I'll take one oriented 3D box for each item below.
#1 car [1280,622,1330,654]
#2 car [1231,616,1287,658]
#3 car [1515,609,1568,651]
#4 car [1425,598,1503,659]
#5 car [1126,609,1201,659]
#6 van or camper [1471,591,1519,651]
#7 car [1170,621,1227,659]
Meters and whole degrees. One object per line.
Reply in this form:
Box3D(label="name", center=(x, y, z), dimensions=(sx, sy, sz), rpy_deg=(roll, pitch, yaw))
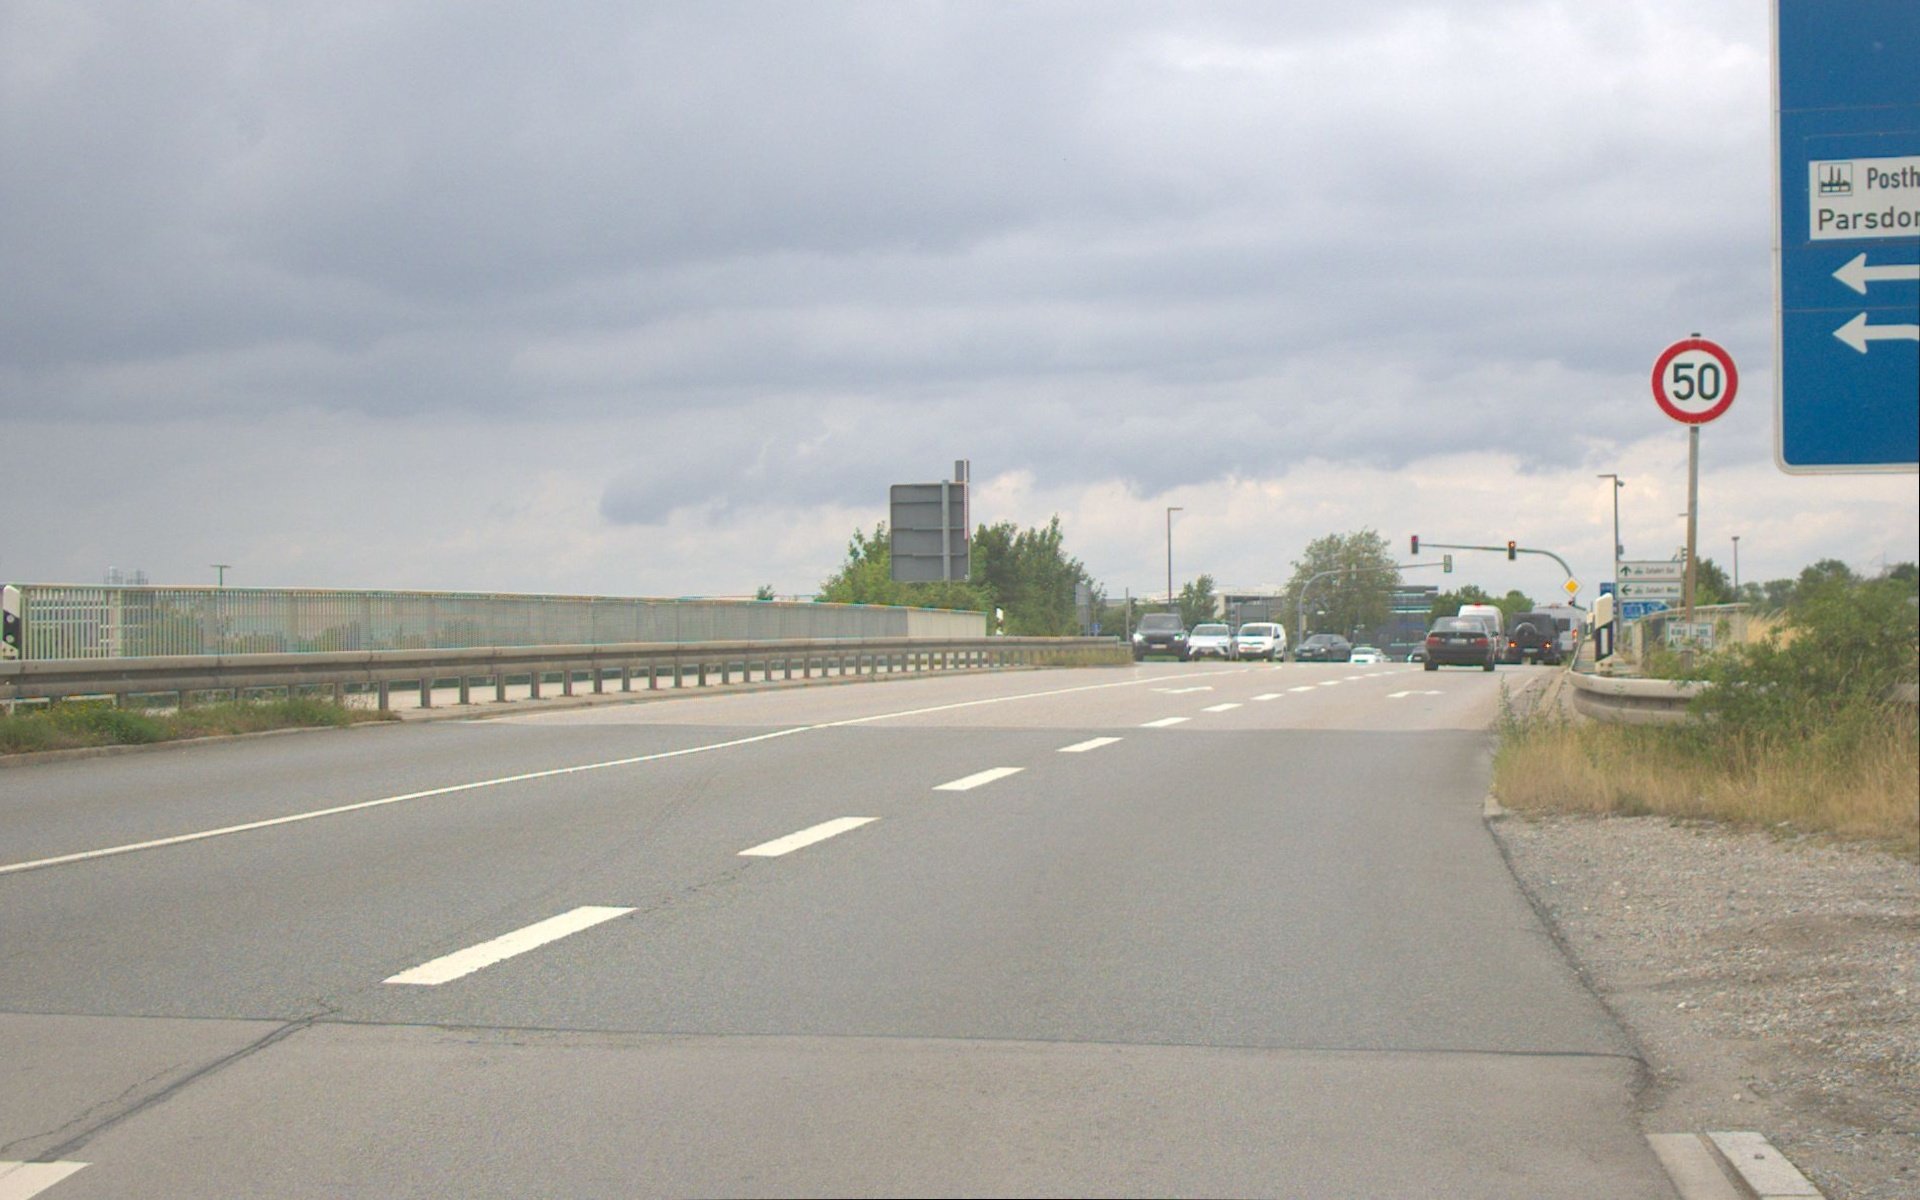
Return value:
Box3D(label="car", center=(17.391, 1.936, 173.340), dimensions=(1.584, 1.552, 4.142), rpy_deg=(1, -1, 19))
Box3D(label="car", center=(13.711, 1.677, 157.462), dimensions=(1.954, 1.868, 4.818), rpy_deg=(0, 0, 12))
Box3D(label="car", center=(22.159, 1.155, 130.973), dimensions=(1.683, 1.539, 3.613), rpy_deg=(0, -1, 15))
Box3D(label="car", center=(12.475, 0.712, 84.952), dimensions=(1.519, 1.480, 3.613), rpy_deg=(0, -1, 15))
Box3D(label="car", center=(7.422, 1.230, 125.023), dimensions=(1.994, 1.726, 4.759), rpy_deg=(0, 0, 12))
Box3D(label="van or camper", center=(23.747, 0.955, 152.534), dimensions=(1.877, 2.572, 3.998), rpy_deg=(2, -1, 11))
Box3D(label="car", center=(9.673, 1.601, 139.249), dimensions=(1.712, 1.481, 4.277), rpy_deg=(0, 0, 12))
